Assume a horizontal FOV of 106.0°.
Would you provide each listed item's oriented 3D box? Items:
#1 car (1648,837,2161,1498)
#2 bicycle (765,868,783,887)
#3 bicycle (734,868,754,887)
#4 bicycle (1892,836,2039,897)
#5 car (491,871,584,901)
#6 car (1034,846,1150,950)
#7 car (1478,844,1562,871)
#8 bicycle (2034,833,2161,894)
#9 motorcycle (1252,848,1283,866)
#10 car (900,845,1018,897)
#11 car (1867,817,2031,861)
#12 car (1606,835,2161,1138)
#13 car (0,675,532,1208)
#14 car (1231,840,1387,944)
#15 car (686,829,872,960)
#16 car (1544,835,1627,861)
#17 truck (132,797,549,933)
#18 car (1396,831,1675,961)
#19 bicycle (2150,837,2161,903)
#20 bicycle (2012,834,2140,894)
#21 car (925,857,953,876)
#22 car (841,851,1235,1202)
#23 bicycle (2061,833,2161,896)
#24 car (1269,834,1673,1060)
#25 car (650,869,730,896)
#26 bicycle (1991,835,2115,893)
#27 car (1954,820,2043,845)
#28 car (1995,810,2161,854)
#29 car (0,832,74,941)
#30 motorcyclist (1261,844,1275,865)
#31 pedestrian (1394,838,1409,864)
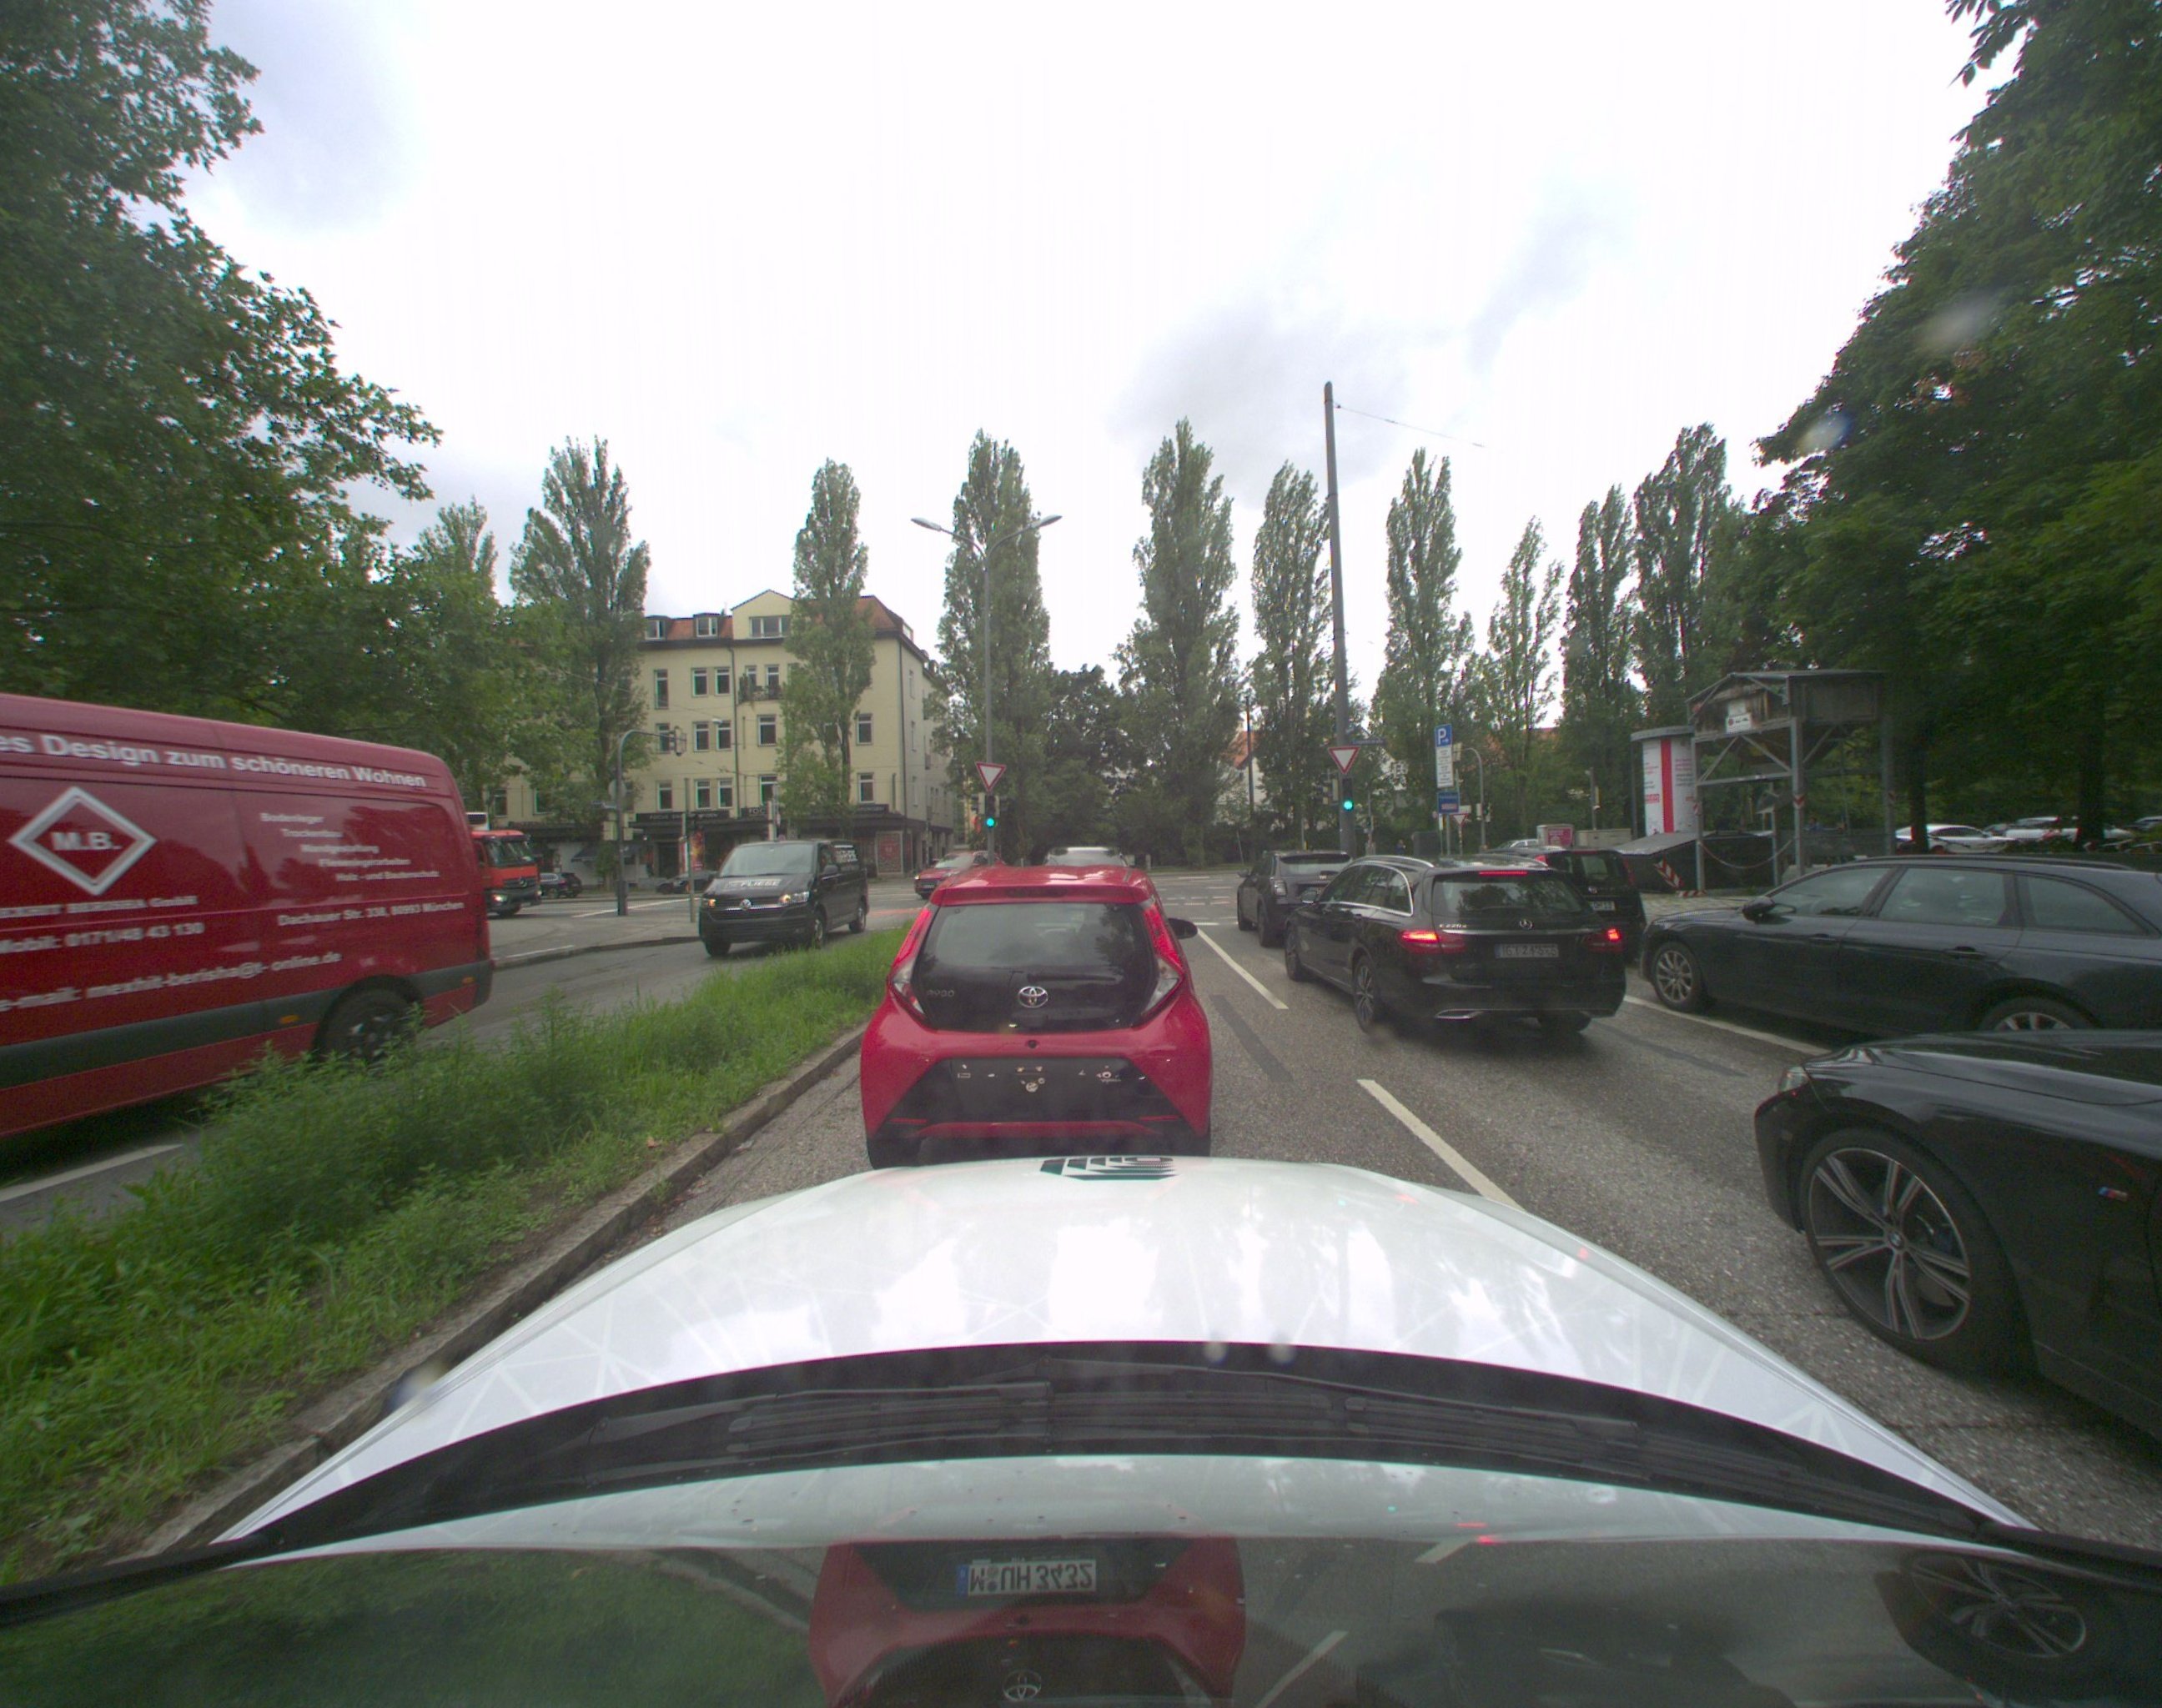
[{"bbox_3d":[3.141,0.670,0.948,1.717,1.389,4.801,-2,0,2],"label":"car"},{"bbox_3d":[-20.350,1.520,53.998,0.493,1.185,1.888,-2,0,-1],"label":"bicycle"},{"bbox_3d":[-22.396,1.562,54.118,0.493,1.185,1.888,-2,0,-1],"label":"bicycle"},{"bbox_3d":[15.488,0.212,14.275,2.232,1.016,0.628,0,-1,-10],"label":"bicycle"},{"bbox_3d":[-33.073,1.934,49.611,4.440,1.612,1.727,-2,0,1],"label":"car"},{"bbox_3d":[0.290,0.668,14.851,1.728,1.549,4.580,-2,0,3],"label":"car"},{"bbox_3d":[27.889,0.228,51.800,4.324,1.486,1.786,-2,0,0],"label":"car"},{"bbox_3d":[15.263,0.143,12.210,1.400,0.894,0.314,-1,-1,8],"label":"bicycle"},{"bbox_3d":[12.507,0.184,54.637,2.012,1.169,0.632,-1,-1,7],"label":"motorcycle"},{"bbox_3d":[-4.523,0.596,31.153,2.084,1.637,4.968,-2,1,24],"label":"car"},{"bbox_3d":[31.743,-0.524,29.847,4.351,1.407,1.729,-2,0,-4],"label":"car"},{"bbox_3d":[6.196,0.634,5.894,1.762,1.461,4.641,-2,0,0],"label":"car"},{"bbox_3d":[-6.286,0.452,4.382,2.094,2.589,6.088,-3,1,4],"label":"car"},{"bbox_3d":[3.769,0.575,14.173,1.773,1.486,4.004,-2,0,3],"label":"car"},{"bbox_3d":[-5.355,0.628,15.191,1.853,1.990,4.699,-2,0,-3],"label":"car"},{"bbox_3d":[32.492,-0.372,52.553,4.231,1.486,1.786,-2,0,0],"label":"car"},{"bbox_3d":[-25.096,0.329,27.986,11.636,3.980,2.749,-2,1,1],"label":"truck"},{"bbox_3d":[6.506,0.516,12.364,1.823,1.549,4.558,-2,0,3],"label":"car"},{"bbox_3d":[15.329,0.208,11.134,1.409,0.894,0.312,0,-1,-13],"label":"bicycle"},{"bbox_3d":[15.312,0.159,12.550,1.400,0.894,0.314,-1,-1,8],"label":"bicycle"},{"bbox_3d":[-12.137,1.031,69.678,1.721,1.442,3.997,-2,0,-2],"label":"car"},{"bbox_3d":[-0.097,0.732,5.141,1.622,1.440,3.379,-2,0,3],"label":"car"},{"bbox_3d":[15.208,0.153,11.821,1.400,0.894,0.314,-1,-1,8],"label":"bicycle"},{"bbox_3d":[3.235,0.637,7.982,1.856,1.549,4.706,0,0,2],"label":"car"},{"bbox_3d":[-23.862,1.715,49.826,3.977,1.466,1.803,-2,-1,-3],"label":"car"},{"bbox_3d":[15.363,0.162,12.884,1.400,0.894,0.314,-1,-1,8],"label":"bicycle"},{"bbox_3d":[61.254,-1.426,54.401,4.117,1.486,1.784,-2,0,-3],"label":"car"},{"bbox_3d":[37.089,-0.795,30.323,4.351,1.407,1.729,-2,0,-4],"label":"car"},{"bbox_3d":[-22.388,0.836,14.905,1.975,2.013,4.658,-1,5,43],"label":"car"},{"bbox_3d":[12.559,0.034,54.627,0.874,1.443,0.622,-1,-1,7],"label":"motorcyclist"},{"bbox_3d":[20.285,-0.186,51.571,0.693,1.662,0.555,-1,-1,42],"label":"pedestrian"}]
